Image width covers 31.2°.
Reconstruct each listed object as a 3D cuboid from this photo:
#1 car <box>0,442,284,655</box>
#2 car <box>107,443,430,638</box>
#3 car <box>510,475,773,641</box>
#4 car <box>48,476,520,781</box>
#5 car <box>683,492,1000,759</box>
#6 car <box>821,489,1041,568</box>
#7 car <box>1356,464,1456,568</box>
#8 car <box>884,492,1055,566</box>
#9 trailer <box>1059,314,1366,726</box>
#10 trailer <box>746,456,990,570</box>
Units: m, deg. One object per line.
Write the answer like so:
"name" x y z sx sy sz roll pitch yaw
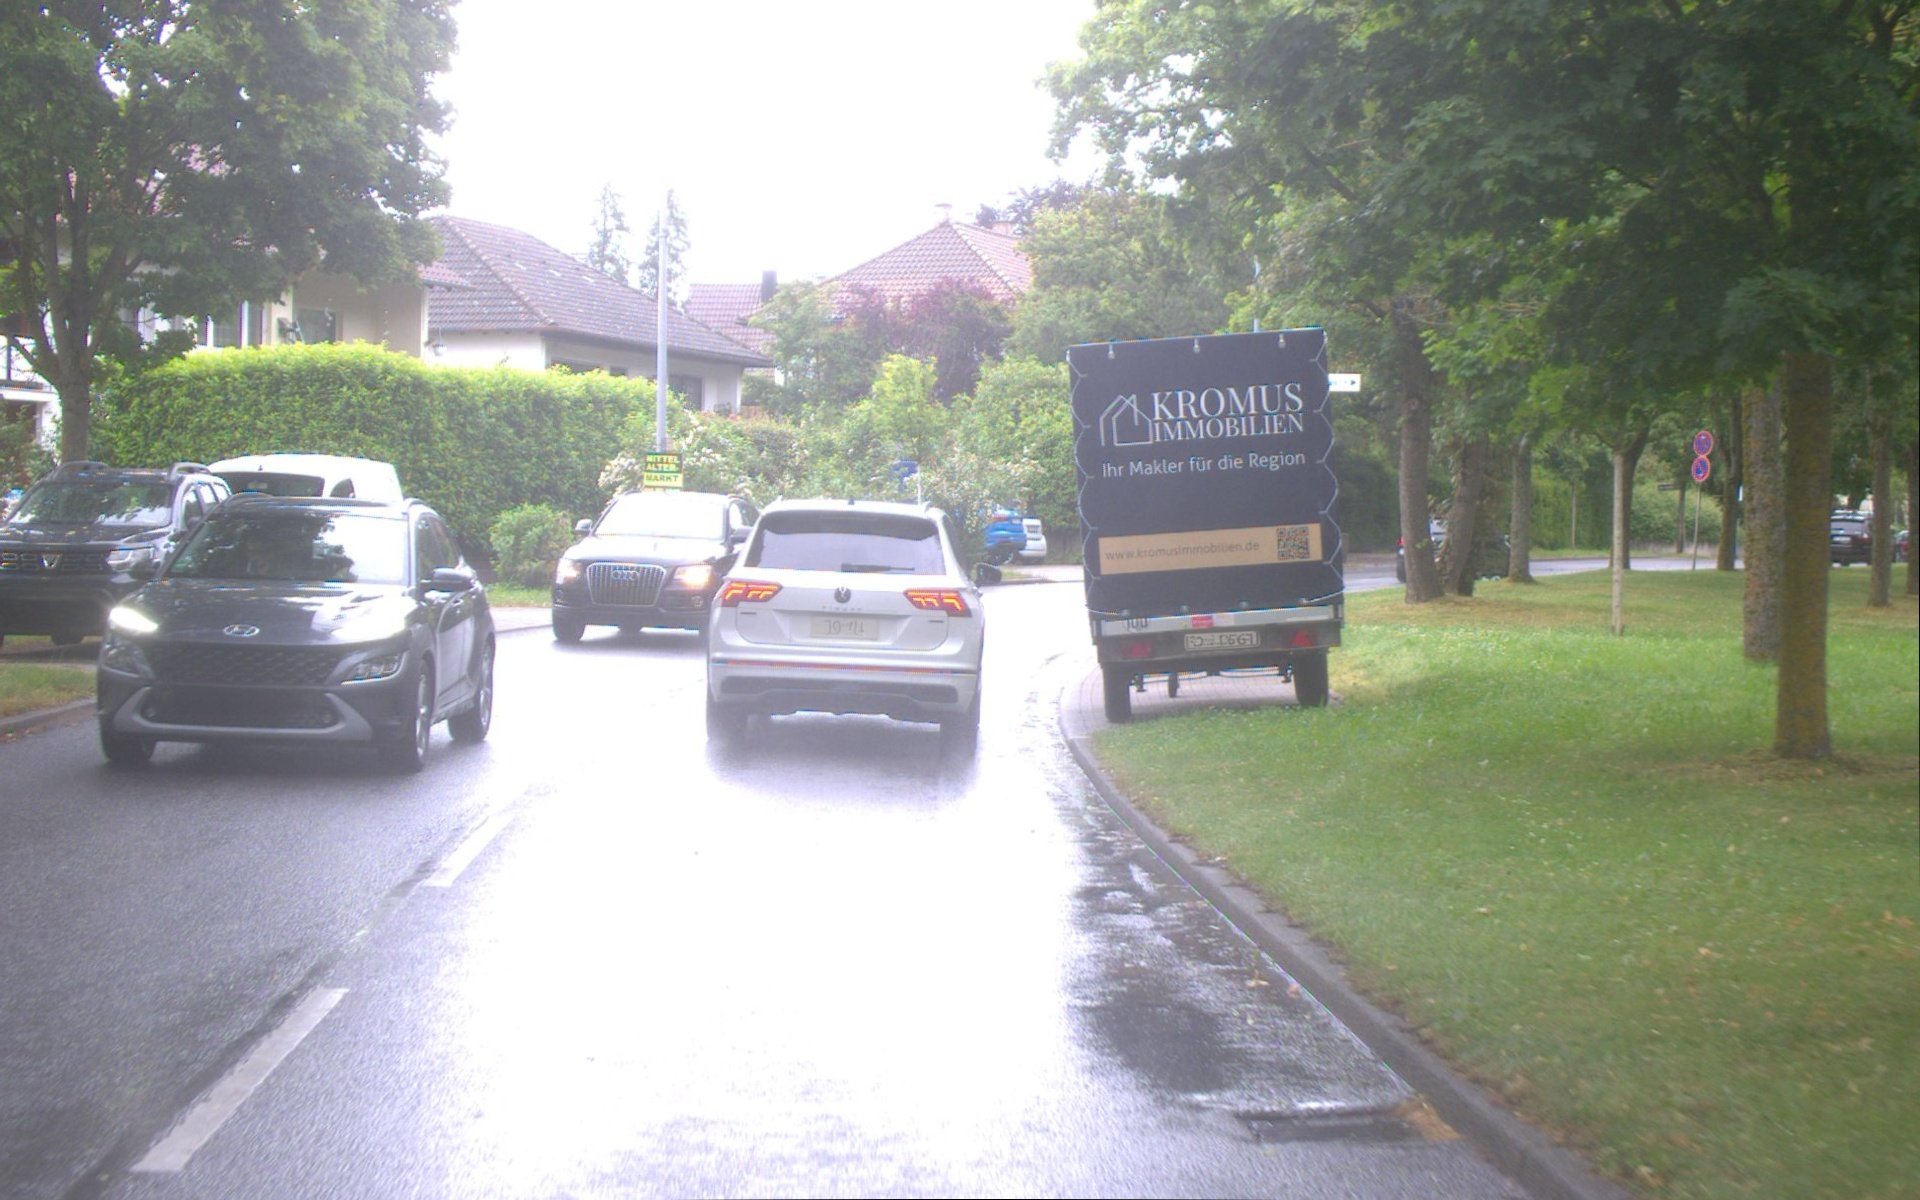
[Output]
"car" -7.287 -0.461 30.015 1.750 1.635 4.592 3 1 0
"car" -6.998 -0.613 35.255 1.799 1.789 4.371 3 1 8
"car" -3.483 -0.510 38.439 1.852 1.686 4.403 2 2 9
"car" -3.937 0.081 20.705 1.790 1.532 4.092 4 2 3
"car" -0.845 0.117 24.062 1.974 1.647 4.178 2 1 -2
"car" -0.617 -1.543 74.086 4.243 1.534 2.050 3 2 21
"car" 9.455 -1.754 72.723 1.902 2.007 3.943 4 1 8
"car" 0.220 -1.599 77.229 3.407 1.514 1.729 3 2 21
"trailer" 1.878 -0.638 27.194 1.994 2.798 5.608 -4 1 2
"trailer" -1.894 -1.805 70.955 4.625 2.164 1.813 3 2 21
